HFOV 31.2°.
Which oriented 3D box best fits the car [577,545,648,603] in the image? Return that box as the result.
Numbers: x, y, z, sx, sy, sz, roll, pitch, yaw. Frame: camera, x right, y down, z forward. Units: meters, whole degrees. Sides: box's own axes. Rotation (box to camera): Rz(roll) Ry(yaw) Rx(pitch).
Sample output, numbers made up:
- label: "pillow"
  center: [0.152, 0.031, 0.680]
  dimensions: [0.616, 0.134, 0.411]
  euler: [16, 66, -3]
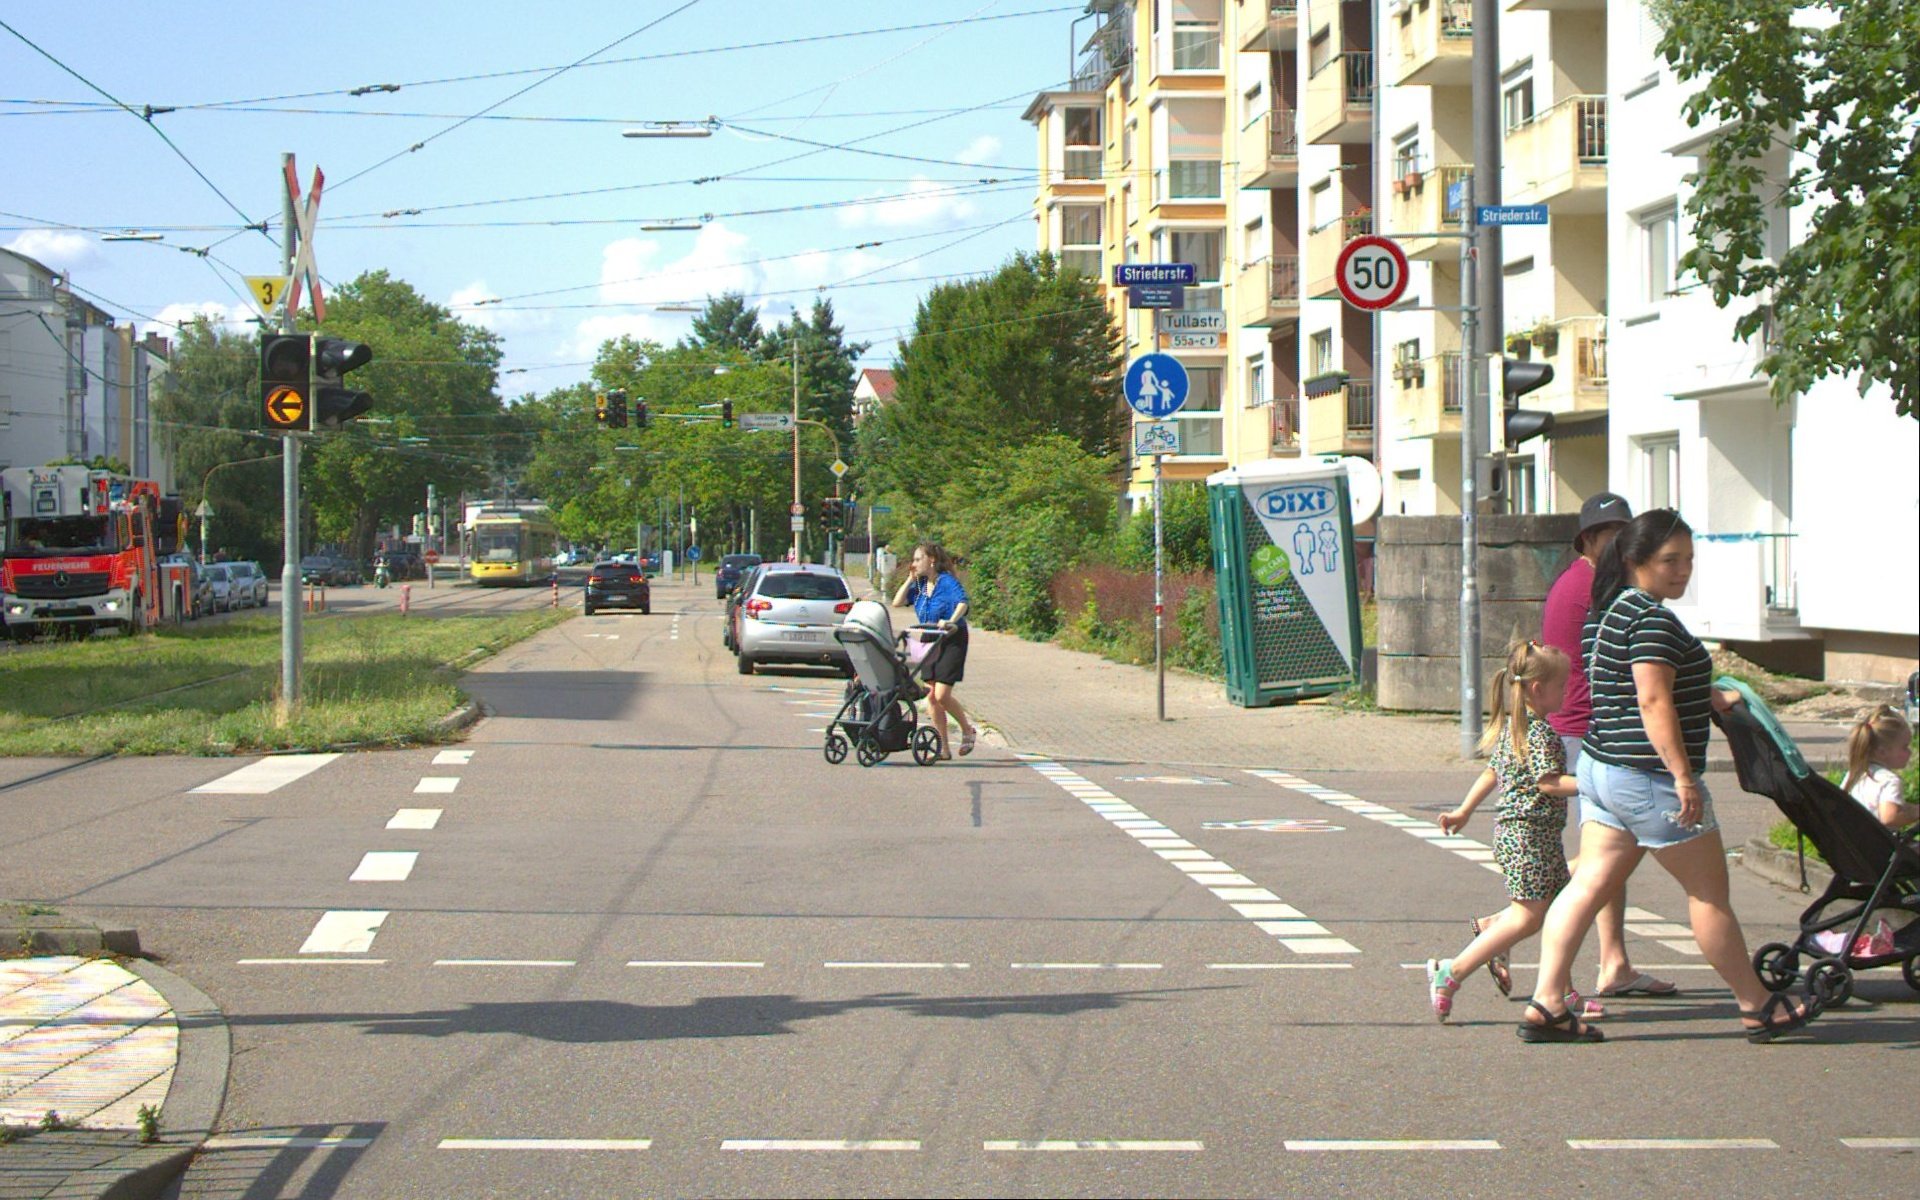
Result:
- label: "car"
  center: [-9.390, -0.696, 93.120]
  dimensions: [1.743, 1.502, 4.001]
  euler: [1, 0, -4]

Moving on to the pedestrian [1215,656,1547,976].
- label: "pedestrian"
  center: [2.965, 1.474, 25.005]
  dimensions: [1.993, 2.007, 4.000]
  euler: [1, 0, 2]

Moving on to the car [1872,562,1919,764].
- label: "car"
  center: [8.766, 0.485, 24.224]
  dimensions: [4.166, 1.408, 1.780]
  euler: [1, 0, -1]

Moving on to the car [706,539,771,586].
- label: "car"
  center: [-7.458, -1.252, 116.044]
  dimensions: [1.744, 1.502, 4.000]
  euler: [1, 0, 3]

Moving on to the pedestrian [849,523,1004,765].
- label: "pedestrian"
  center: [-0.248, 0.344, 26.335]
  dimensions: [0.702, 1.783, 1.028]
  euler: [3, -1, 26]

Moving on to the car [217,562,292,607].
- label: "car"
  center: [-22.317, -0.501, 108.814]
  dimensions: [1.846, 1.363, 4.001]
  euler: [1, 0, -5]

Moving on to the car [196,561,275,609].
- label: "car"
  center: [-21.862, -0.458, 103.840]
  dimensions: [1.846, 1.363, 4.001]
  euler: [1, 0, -5]

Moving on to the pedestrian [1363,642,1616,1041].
- label: "pedestrian"
  center: [1.636, 0.729, 10.712]
  dimensions: [0.636, 1.176, 0.799]
  euler: [-1, 0, -1]

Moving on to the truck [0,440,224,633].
- label: "truck"
  center: [-16.728, -1.195, 67.609]
  dimensions: [2.666, 3.459, 10.169]
  euler: [1, 0, -2]

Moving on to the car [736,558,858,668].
- label: "car"
  center: [-2.291, 0.161, 48.269]
  dimensions: [1.622, 1.460, 3.511]
  euler: [1, 0, -3]

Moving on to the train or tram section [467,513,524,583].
- label: "train or tram section"
  center: [-20.764, -2.322, 153.849]
  dimensions: [2.258, 3.058, 8.135]
  euler: [-1, 1, -6]

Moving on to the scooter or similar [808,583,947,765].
- label: "scooter or similar"
  center: [-0.612, 0.549, 25.596]
  dimensions: [0.663, 1.299, 0.867]
  euler: [2, 0, 25]

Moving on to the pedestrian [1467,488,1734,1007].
- label: "pedestrian"
  center: [2.092, 0.469, 11.290]
  dimensions: [0.705, 1.642, 0.637]
  euler: [1, 0, -2]

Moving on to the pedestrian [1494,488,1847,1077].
- label: "pedestrian"
  center: [2.080, 0.516, 10.160]
  dimensions: [0.845, 1.662, 0.799]
  euler: [-1, 0, -1]

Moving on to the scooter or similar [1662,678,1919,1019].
- label: "scooter or similar"
  center: [2.939, 0.803, 11.256]
  dimensions: [1.100, 1.052, 0.650]
  euler: [1, 0, -3]
